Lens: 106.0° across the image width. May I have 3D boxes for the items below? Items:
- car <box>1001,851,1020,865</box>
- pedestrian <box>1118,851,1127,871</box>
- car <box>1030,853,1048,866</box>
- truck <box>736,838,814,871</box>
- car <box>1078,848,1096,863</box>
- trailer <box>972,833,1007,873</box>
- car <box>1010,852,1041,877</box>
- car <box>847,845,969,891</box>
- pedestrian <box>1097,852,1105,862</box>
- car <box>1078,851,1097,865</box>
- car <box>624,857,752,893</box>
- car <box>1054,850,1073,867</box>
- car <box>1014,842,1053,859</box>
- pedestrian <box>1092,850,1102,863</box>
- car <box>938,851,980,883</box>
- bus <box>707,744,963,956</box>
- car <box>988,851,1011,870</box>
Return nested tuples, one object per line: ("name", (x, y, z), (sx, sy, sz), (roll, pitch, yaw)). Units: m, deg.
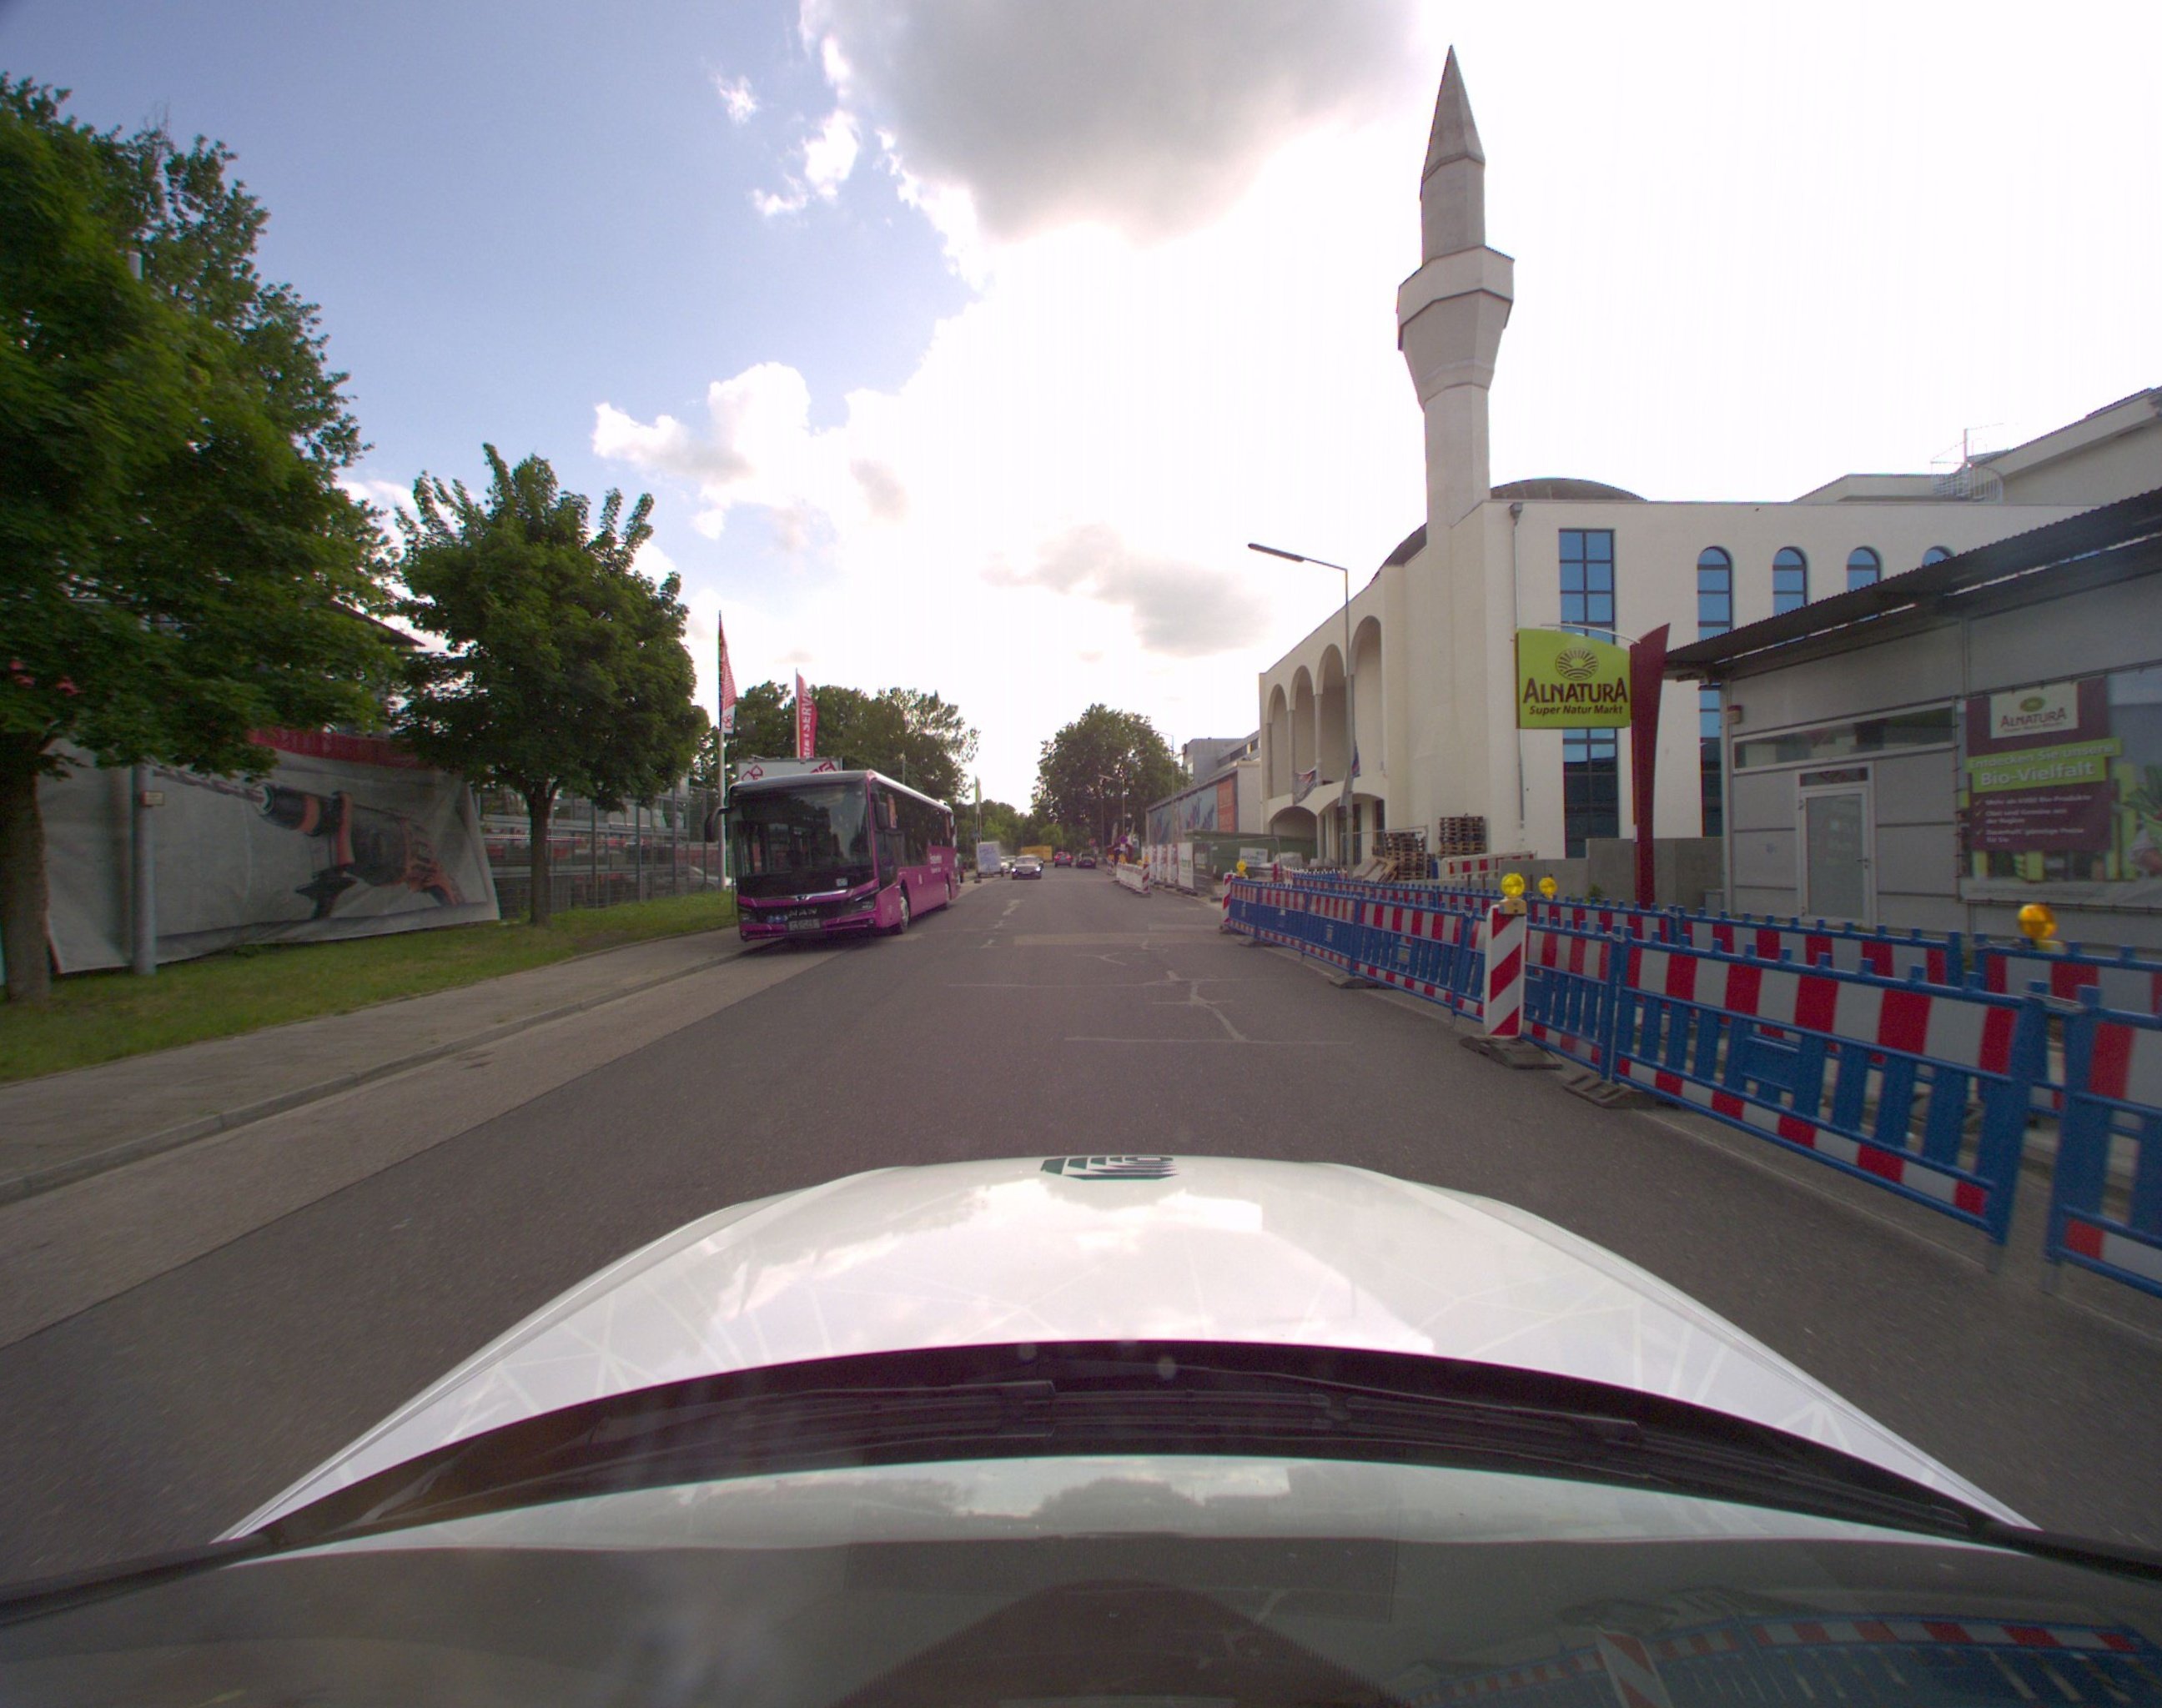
("car", (-8.229, 0.453, 95.377), (1.704, 1.420, 4.329), (-4, 0, -1))
("pedestrian", (3.320, 0.561, 65.008), (0.679, 1.534, 1.130), (-1, 0, 0))
("car", (-4.621, 0.580, 90.721), (1.918, 1.377, 4.377), (-1, 0, -2))
("truck", (-25.243, 0.031, 67.403), (5.737, 2.594, 1.814), (-1, -2, -1))
("car", (0.658, 0.168, 92.724), (1.804, 1.665, 4.634), (2, 0, -3))
("trailer", (-6.715, -0.083, 60.328), (2.134, 2.783, 4.699), (-3, 0, -3))
("car", (-3.532, 0.627, 52.546), (1.792, 1.459, 4.381), (-2, 1, -2))
("car", (-7.744, 0.604, 36.801), (4.979, 1.949, 1.994), (-1, 0, 3))
("pedestrian", (2.609, 0.393, 107.165), (1.009, 1.314, 0.966), (-1, 0, 6))
("car", (0.664, 0.410, 86.385), (1.803, 1.391, 4.586), (2, 0, -1))
("car", (-17.477, 0.912, 36.385), (4.671, 1.453, 1.953), (-1, 0, -2))
("car", (-1.991, 0.470, 92.978), (1.958, 1.815, 4.269), (-1, 0, -4))
("car", (-7.803, -0.562, 132.994), (6.321, 2.578, 2.220), (-1, 0, 37))
("pedestrian", (2.305, 0.320, 117.885), (1.004, 1.849, 1.221), (0, 0, -20))
("car", (-6.633, 0.682, 44.627), (1.864, 1.630, 4.123), (-1, 1, -3))
("bus", (-5.133, -0.120, 20.490), (2.656, 3.422, 13.207), (-4, 0, -2))
("car", (-7.075, 0.557, 70.836), (1.761, 1.479, 4.230), (-3, 1, -3))
